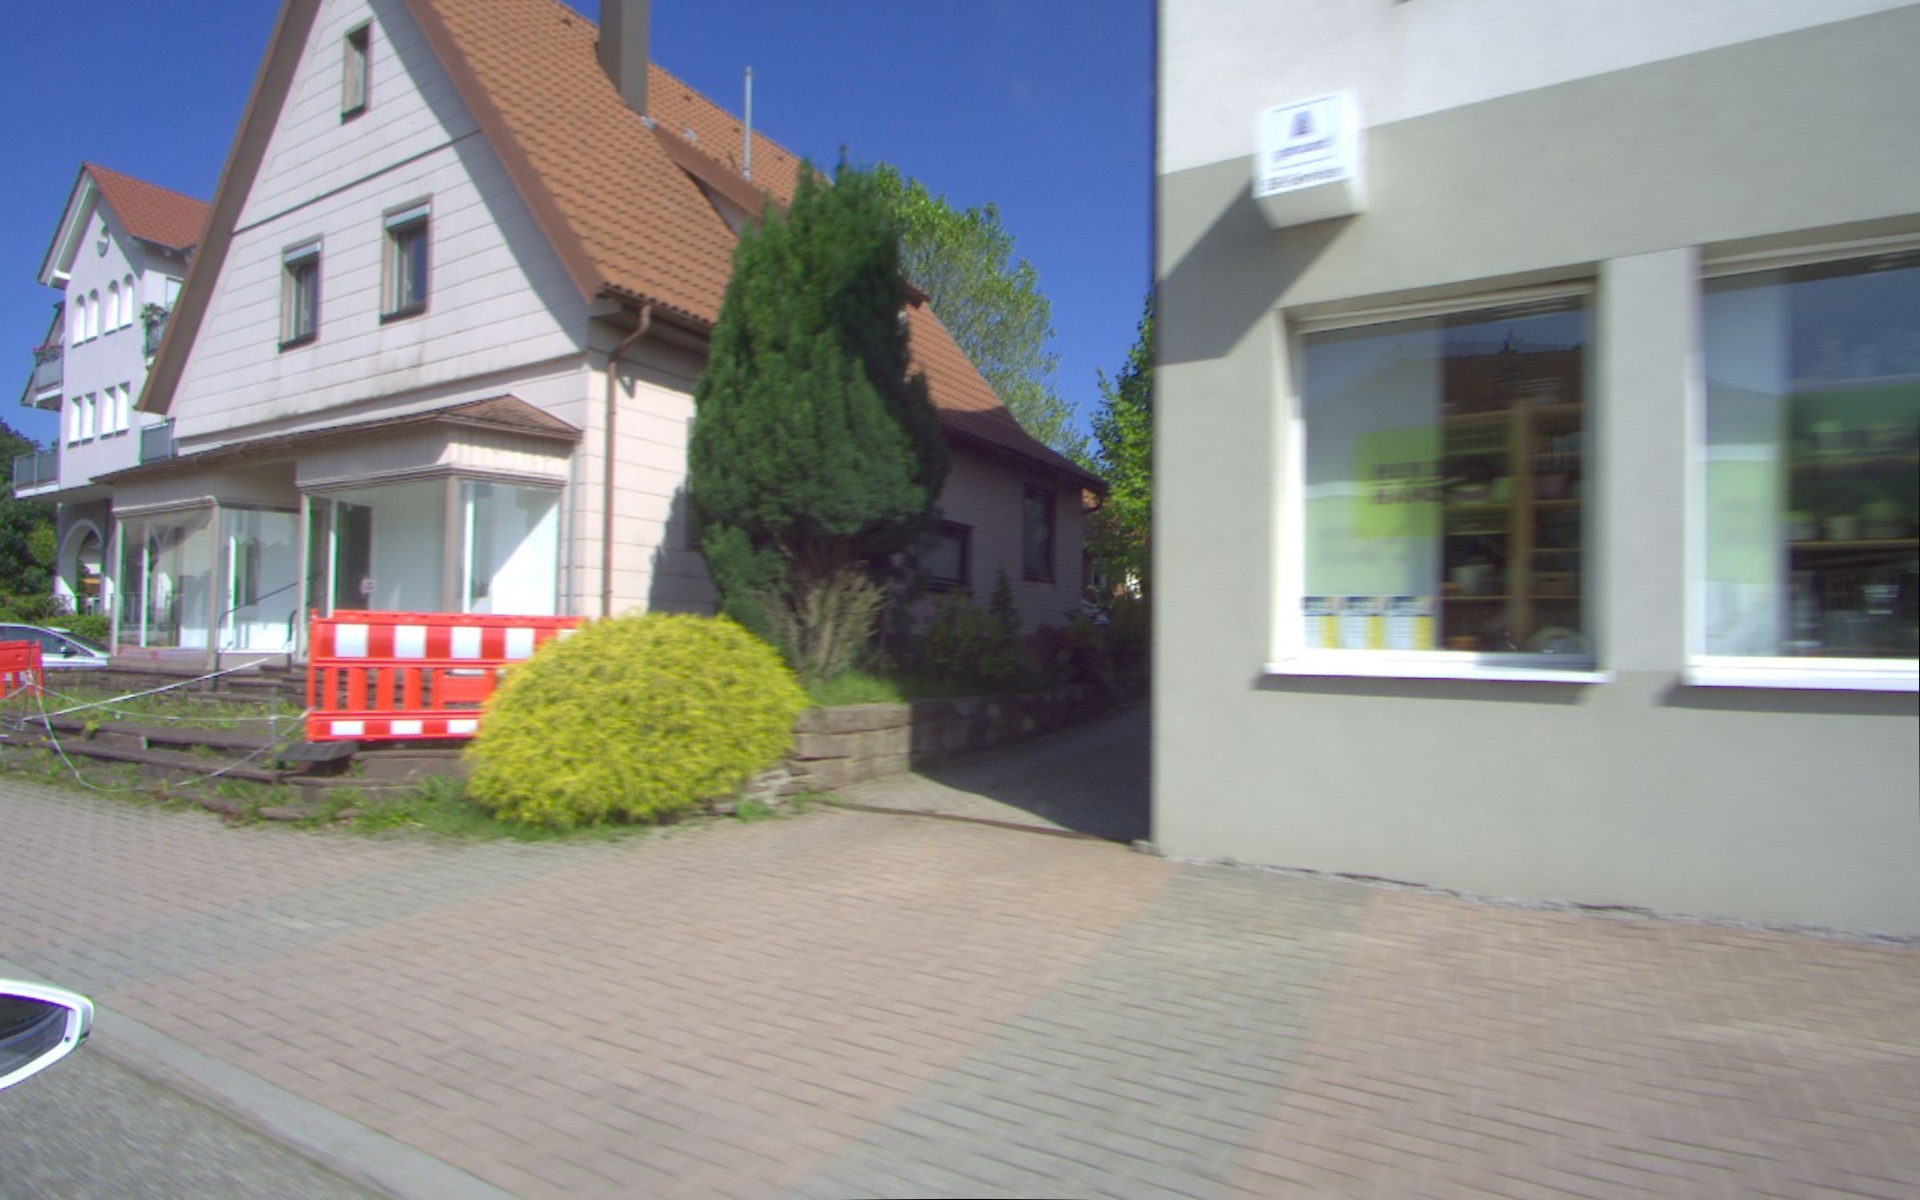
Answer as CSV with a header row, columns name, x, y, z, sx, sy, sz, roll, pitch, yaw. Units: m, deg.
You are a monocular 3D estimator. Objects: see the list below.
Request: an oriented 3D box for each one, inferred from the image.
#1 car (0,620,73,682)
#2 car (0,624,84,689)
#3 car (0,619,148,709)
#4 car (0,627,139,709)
name,x,y,z,sx,sy,sz,roll,pitch,yaw
car,-25.123,1.284,25.114,1.854,1.568,3.978,-1,-1,33
car,-22.773,1.310,23.421,1.608,1.488,3.221,0,-1,38
car,-17.401,1.132,18.246,1.942,1.578,3.841,-1,-2,43
car,-19.202,1.339,20.096,1.718,1.568,3.970,-1,-3,41
